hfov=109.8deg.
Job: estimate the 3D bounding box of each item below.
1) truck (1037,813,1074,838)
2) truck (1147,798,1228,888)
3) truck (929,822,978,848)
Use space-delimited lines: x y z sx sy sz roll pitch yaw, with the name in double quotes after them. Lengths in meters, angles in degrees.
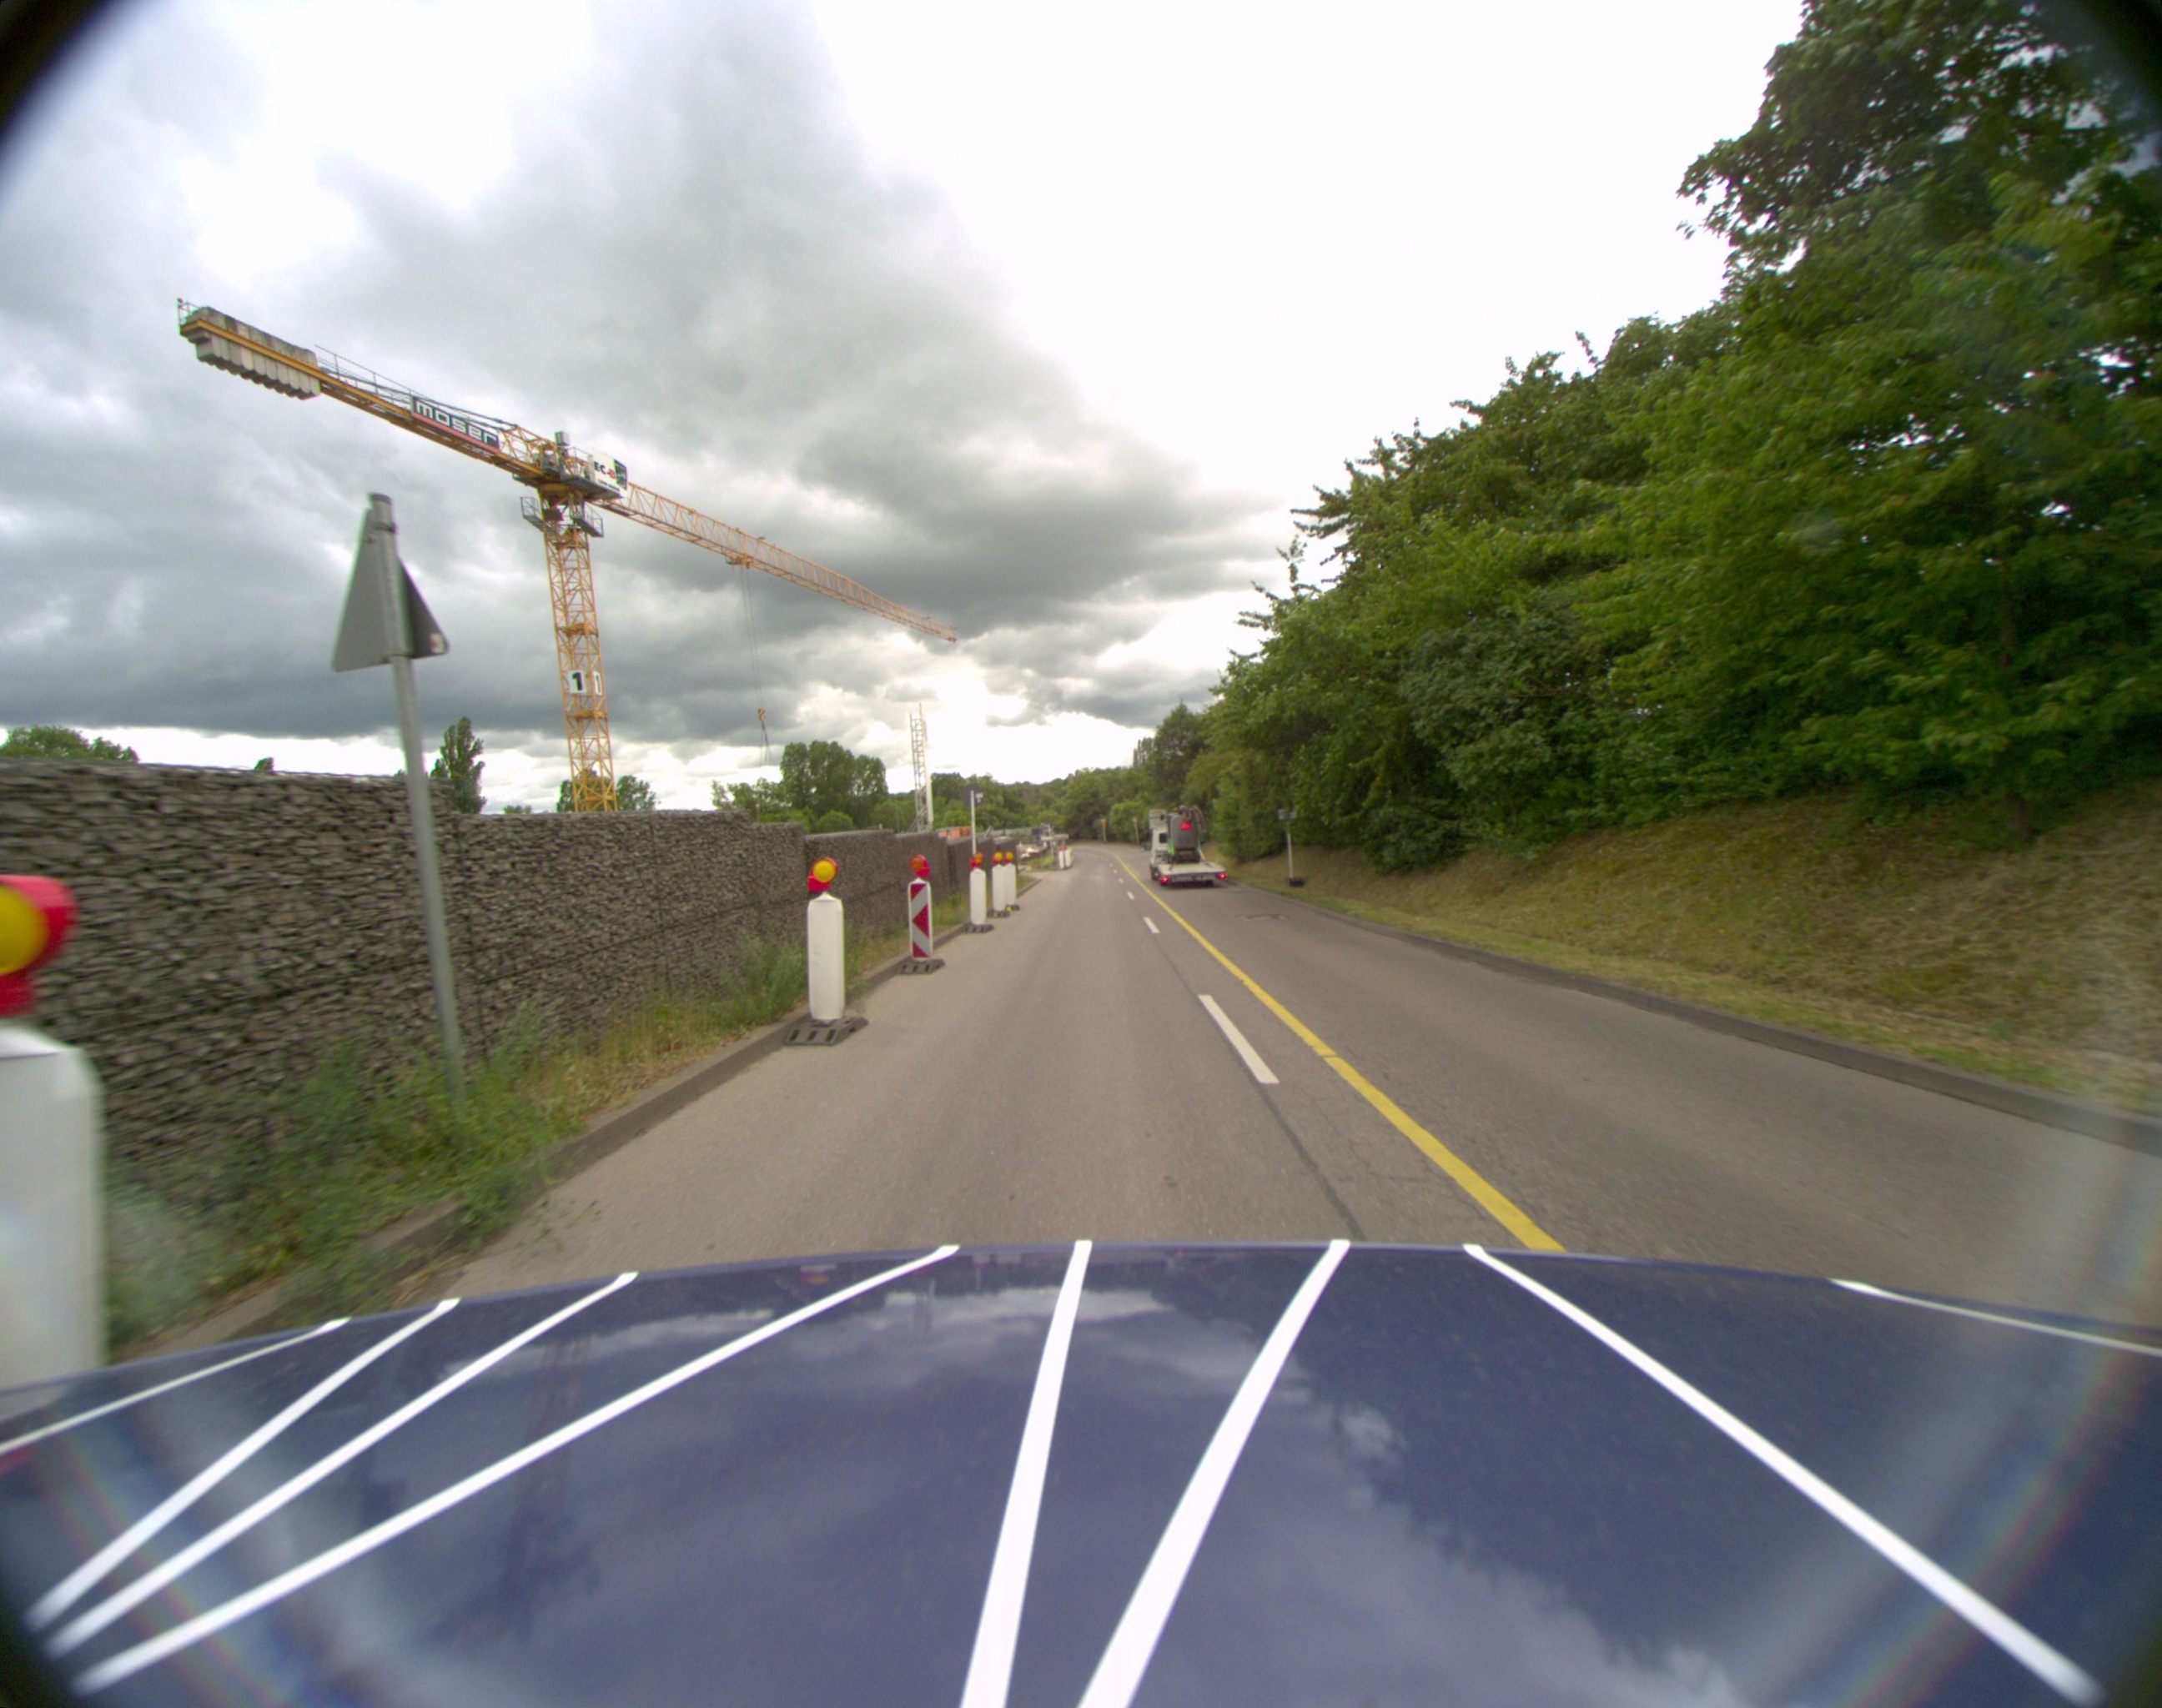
-3.698 -3.967 107.154 2.762 3.240 7.596 -6 3 -20 "truck"
3.955 -0.416 29.659 2.220 2.997 7.739 -2 1 2 "truck"
-22.242 -3.229 132.067 3.046 3.877 9.975 -8 4 -43 "truck"
